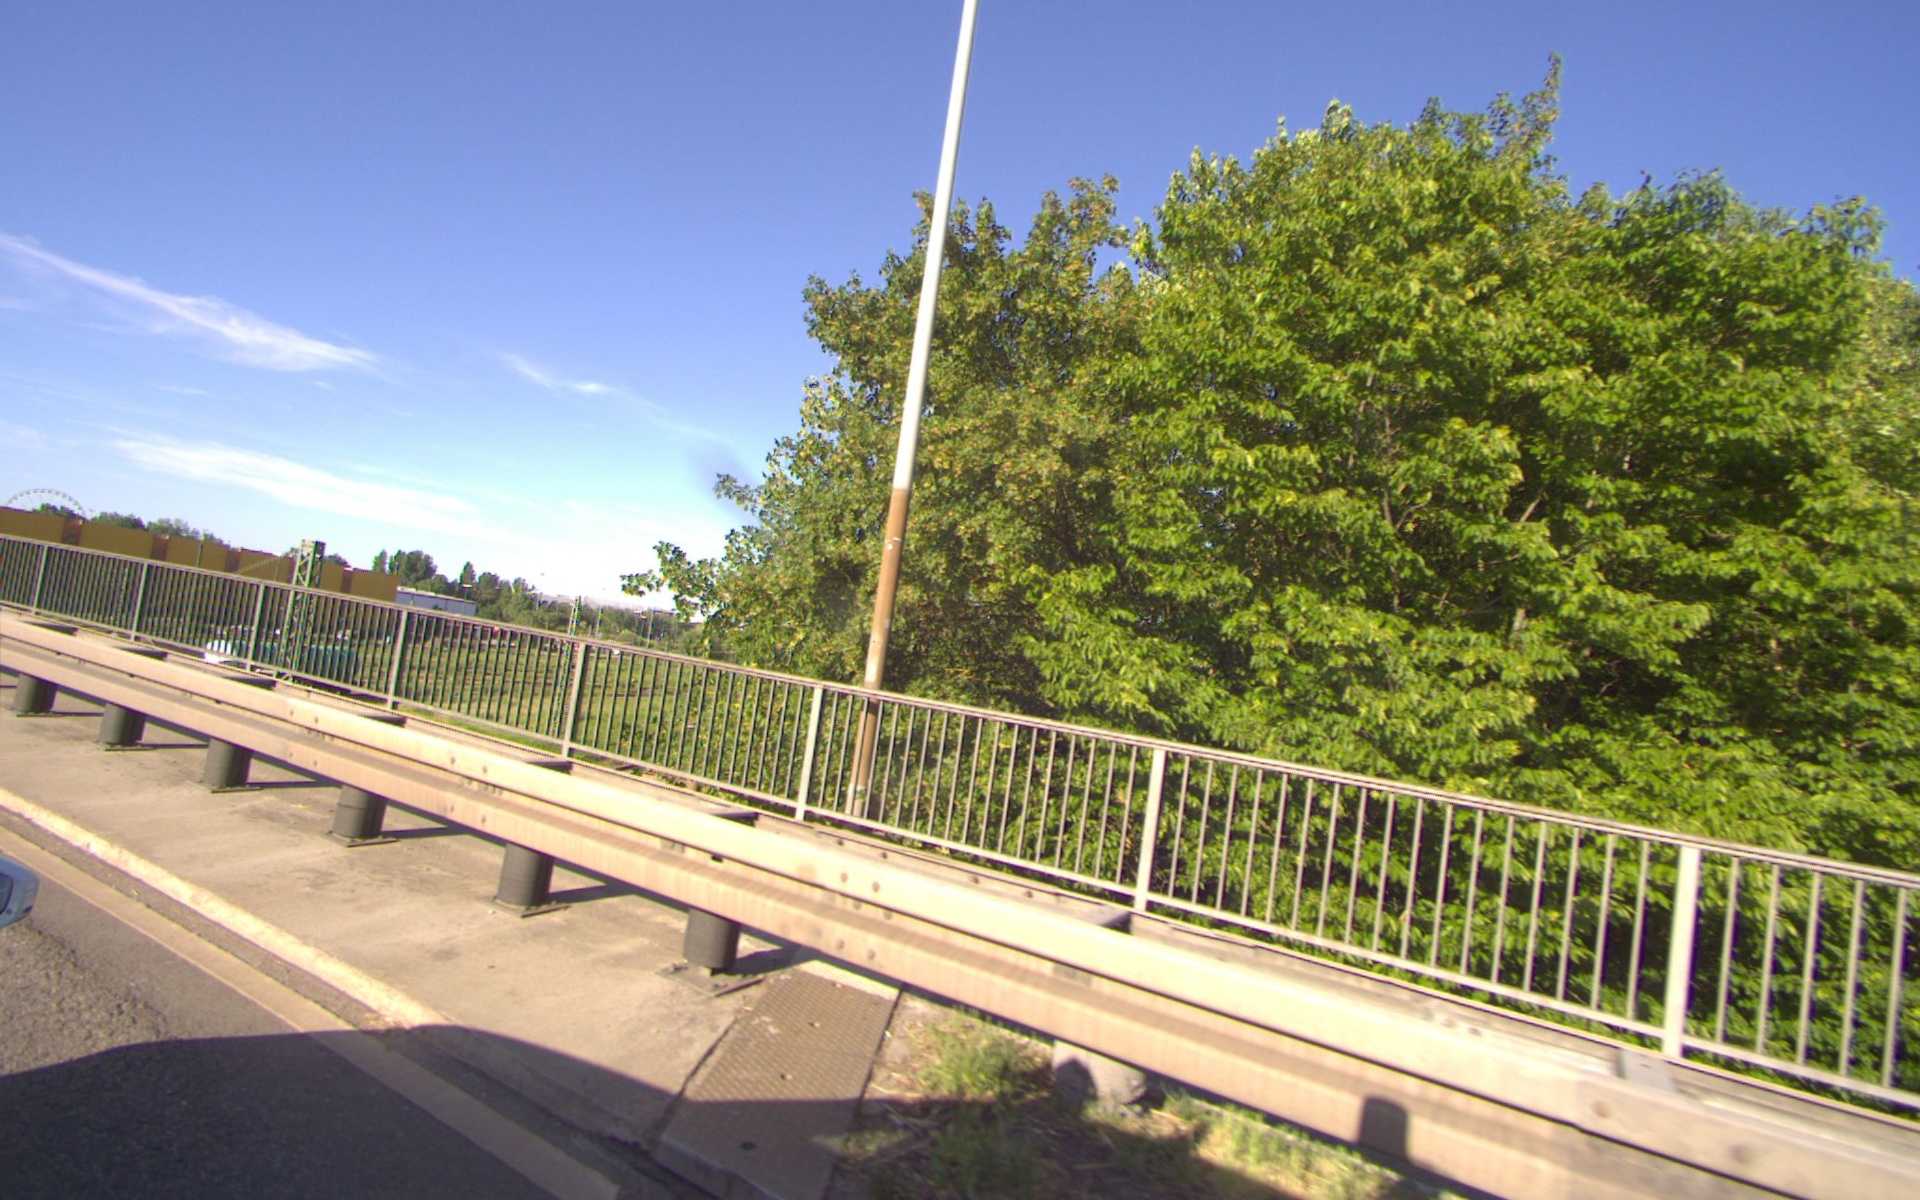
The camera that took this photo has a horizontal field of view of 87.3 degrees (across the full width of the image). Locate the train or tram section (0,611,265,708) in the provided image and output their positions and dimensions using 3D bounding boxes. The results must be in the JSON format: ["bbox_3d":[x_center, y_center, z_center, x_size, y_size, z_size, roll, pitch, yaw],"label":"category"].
[{"bbox_3d":[-55.419,3.915,68.151,3.274,5.321,16.901,8,-2,5],"label":"train or tram section"}]
